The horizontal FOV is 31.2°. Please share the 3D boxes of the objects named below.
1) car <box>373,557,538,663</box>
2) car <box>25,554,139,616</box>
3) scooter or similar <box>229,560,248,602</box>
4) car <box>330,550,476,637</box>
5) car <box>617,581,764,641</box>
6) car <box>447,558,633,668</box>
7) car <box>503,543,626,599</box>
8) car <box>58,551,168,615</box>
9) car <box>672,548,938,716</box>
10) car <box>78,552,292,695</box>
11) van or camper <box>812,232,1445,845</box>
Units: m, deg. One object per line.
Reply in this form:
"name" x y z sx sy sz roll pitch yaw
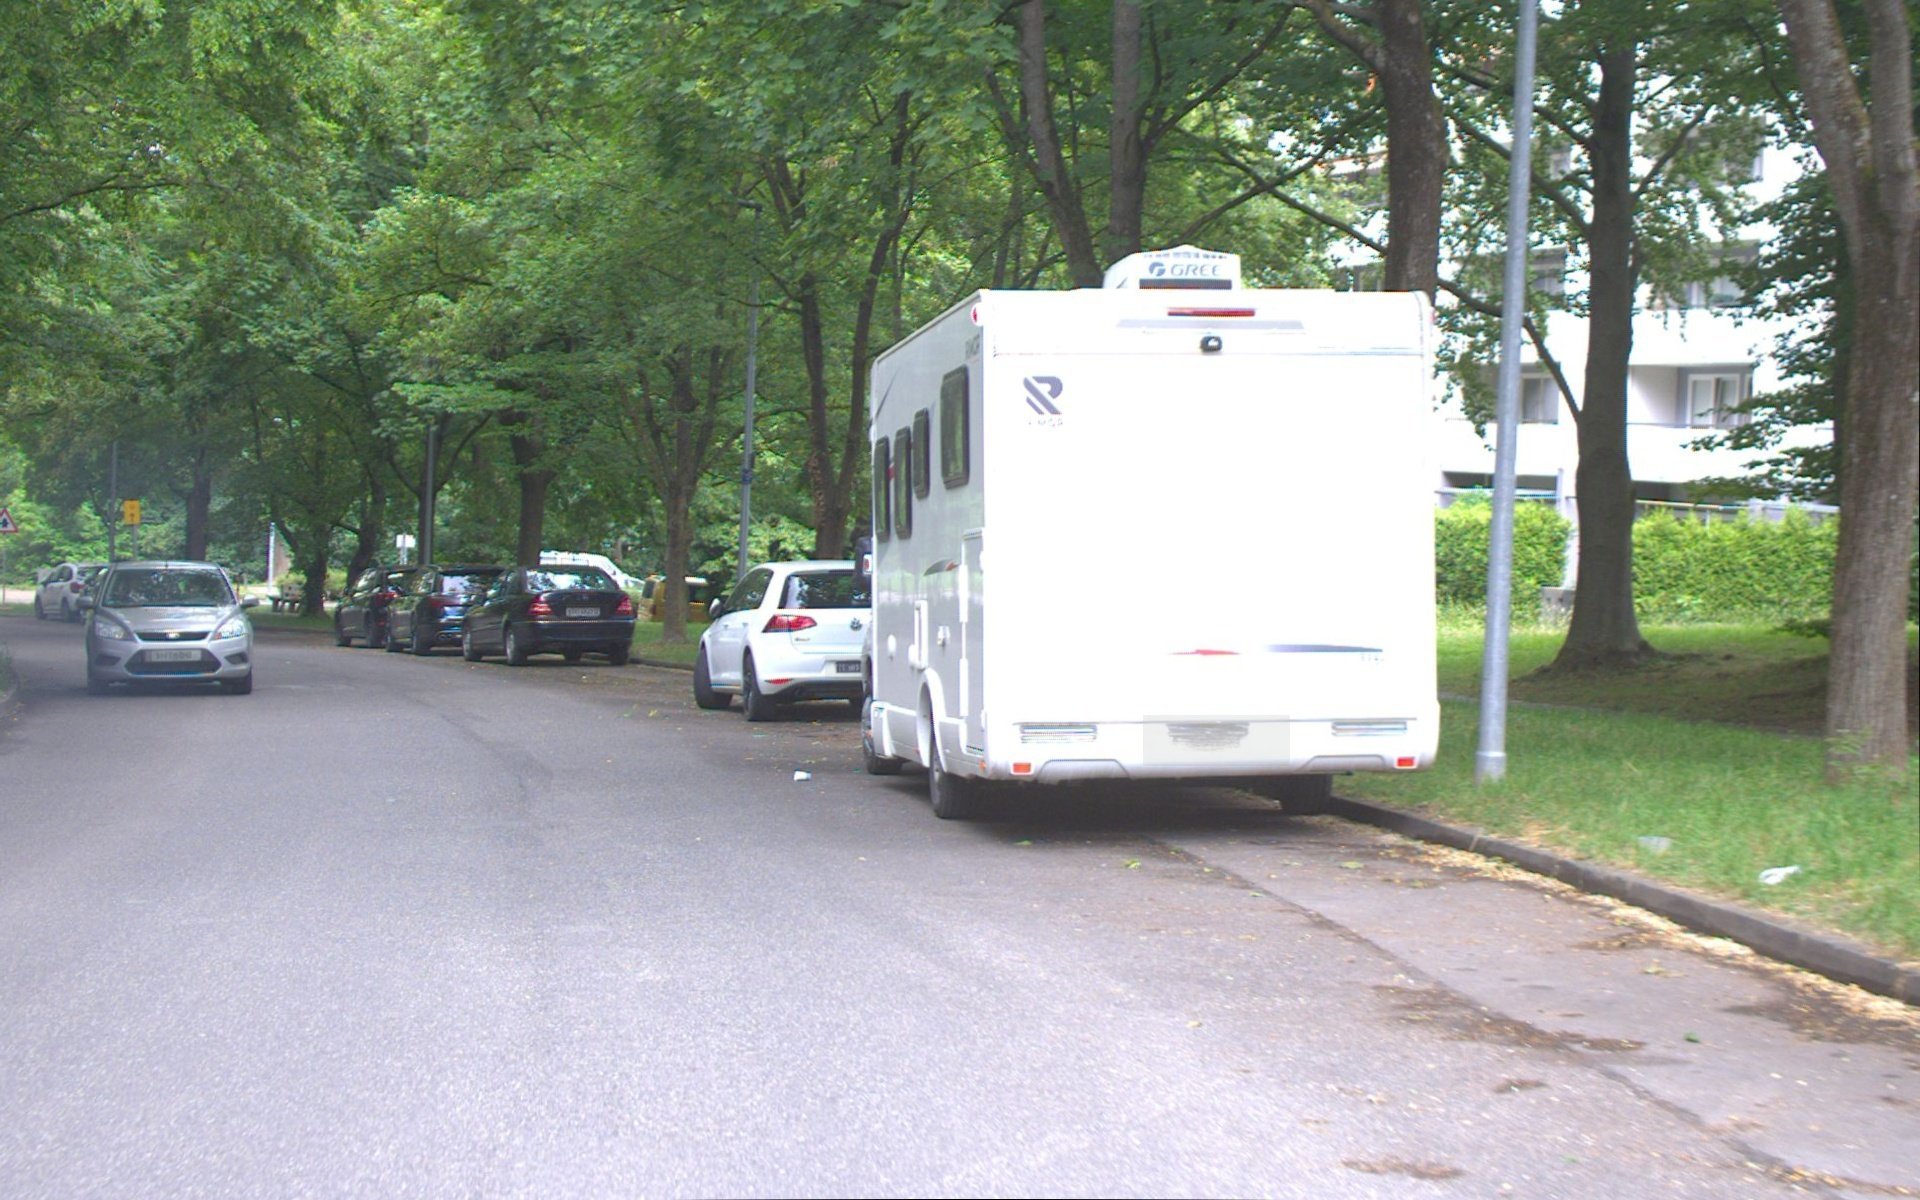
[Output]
"car" -8.114 0.130 54.983 1.913 1.606 4.736 1 0 -17
"car" -22.384 -0.402 87.570 1.774 1.517 3.781 1 1 -32
"scooter or similar" -22.235 -0.582 105.990 0.283 1.282 1.108 1 0 -26
"car" -9.799 -0.129 60.271 1.681 1.459 3.899 1 1 -22
"car" -8.781 0.353 111.928 4.395 1.842 1.833 1 1 -19
"car" -6.033 0.160 48.989 1.588 1.460 4.318 1 1 -21
"car" -14.886 -1.091 129.365 4.205 2.007 2.000 1 0 -23
"car" -20.991 -0.435 85.085 1.773 1.517 4.184 1 1 -26
"car" -1.536 0.265 32.547 1.688 1.477 4.108 1 0 -14
"car" -8.659 0.229 38.701 1.794 1.503 4.001 1 0 -5
"van or camper" 0.682 -0.328 20.538 2.424 2.969 7.395 1 0 -8
